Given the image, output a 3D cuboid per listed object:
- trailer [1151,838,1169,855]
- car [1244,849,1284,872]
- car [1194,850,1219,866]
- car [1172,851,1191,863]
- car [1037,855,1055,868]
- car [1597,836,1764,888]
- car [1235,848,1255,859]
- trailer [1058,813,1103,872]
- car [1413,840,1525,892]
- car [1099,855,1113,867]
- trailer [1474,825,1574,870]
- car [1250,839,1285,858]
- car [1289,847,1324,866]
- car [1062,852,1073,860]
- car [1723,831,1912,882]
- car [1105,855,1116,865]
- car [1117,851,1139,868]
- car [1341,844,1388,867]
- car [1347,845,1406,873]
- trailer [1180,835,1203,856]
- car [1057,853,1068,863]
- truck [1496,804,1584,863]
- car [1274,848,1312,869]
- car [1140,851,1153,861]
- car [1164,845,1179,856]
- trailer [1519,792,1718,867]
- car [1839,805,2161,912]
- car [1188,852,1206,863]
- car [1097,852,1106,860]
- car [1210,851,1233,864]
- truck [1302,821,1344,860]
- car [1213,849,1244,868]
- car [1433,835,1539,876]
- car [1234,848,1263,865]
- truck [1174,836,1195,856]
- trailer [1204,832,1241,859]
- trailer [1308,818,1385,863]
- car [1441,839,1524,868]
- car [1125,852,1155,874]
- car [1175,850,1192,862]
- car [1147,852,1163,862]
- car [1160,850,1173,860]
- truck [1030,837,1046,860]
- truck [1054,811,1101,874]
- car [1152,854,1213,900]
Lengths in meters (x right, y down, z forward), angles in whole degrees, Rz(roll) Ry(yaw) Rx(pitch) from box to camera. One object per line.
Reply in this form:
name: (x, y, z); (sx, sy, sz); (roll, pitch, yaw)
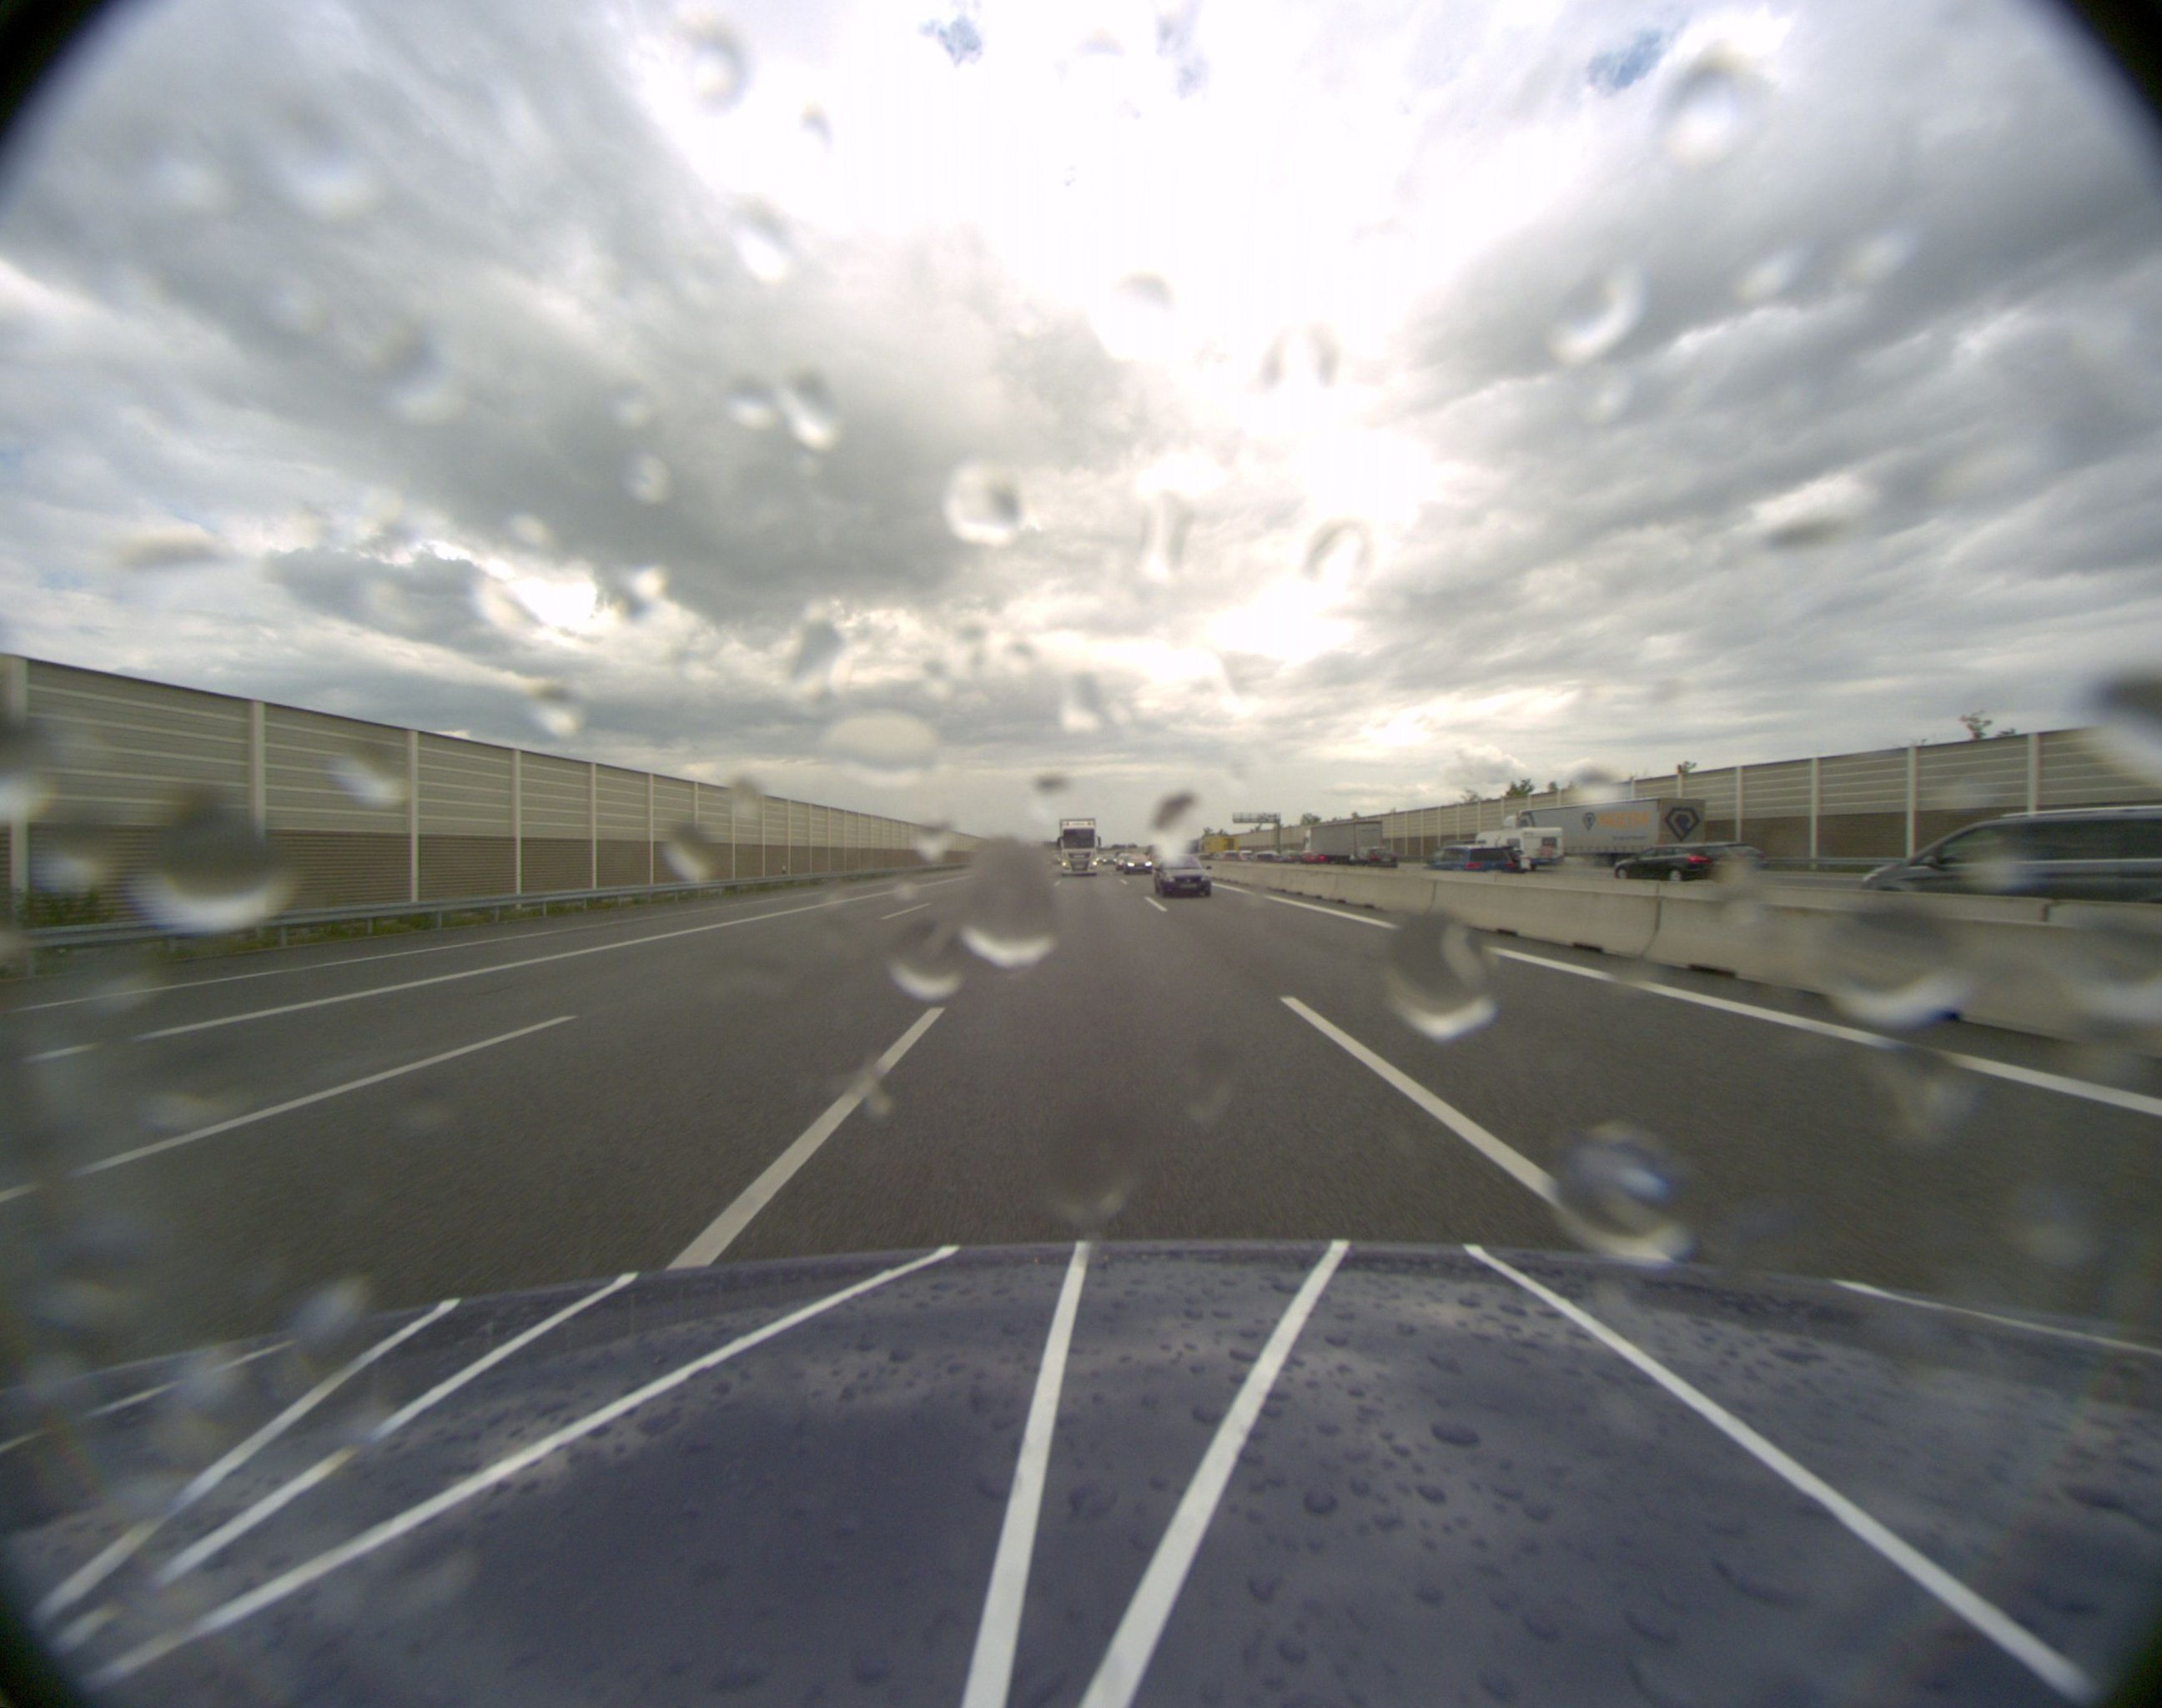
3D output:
trailer: (20.590, -1.844, 199.511); (3.066, 4.136, 14.314); (-1, 0, -1)
car: (14.196, 0.457, 59.230); (1.960, 1.689, 4.410); (-1, 0, -1)
car: (14.697, 0.497, 89.106); (2.066, 1.805, 4.777); (-1, 0, -1)
car: (14.564, 0.397, 110.695); (2.066, 1.689, 4.410); (-1, 0, -1)
car: (-3.840, 0.806, 83.841); (1.698, 1.395, 3.999); (-1, 0, 0)
car: (21.755, 0.256, 27.918); (2.066, 1.689, 5.088); (-1, 0, 0)
car: (25.949, -0.097, 120.620); (2.066, 1.689, 4.410); (-1, 0, -1)
trailer: (0.134, -0.862, 61.284); (2.925, 4.188, 13.197); (-2, 0, 2)
car: (13.949, 0.394, 27.597); (1.878, 1.689, 4.221); (-1, 0, 0)
car: (2.884, 0.811, 89.281); (1.498, 1.395, 4.000); (-1, 0, 0)
trailer: (26.298, -0.376, 45.486); (2.465, 2.481, 6.085); (-1, 0, 1)
car: (18.409, -0.537, 75.345); (2.066, 1.805, 5.113); (-1, 0, -1)
car: (21.722, 0.227, 73.403); (1.960, 1.689, 4.410); (-1, 0, -1)
car: (-2.499, 0.395, 138.884); (1.698, 1.395, 4.000); (-1, 0, 2)
car: (27.131, 0.080, 28.318); (2.066, 1.689, 5.088); (-1, 0, 0)
car: (4.185, 0.831, 107.768); (1.498, 1.395, 4.000); (-1, 0, 0)
car: (4.159, 0.472, 67.454); (1.732, 1.395, 4.000); (-1, 0, 0)
car: (22.382, 0.091, 60.229); (1.960, 1.689, 4.410); (-1, 0, -1)
car: (18.699, 0.314, 48.304); (1.960, 1.689, 4.410); (-1, 0, -1)
trailer: (21.692, -1.579, 149.520); (2.938, 3.916, 10.119); (-1, 0, 0)
car: (-2.780, 0.546, 114.375); (1.498, 1.395, 4.000); (-1, 0, 0)
truck: (33.431, -1.439, 55.599); (2.924, 4.011, 5.725); (-1, 1, 0)
car: (18.422, 0.403, 66.118); (1.960, 1.689, 4.410); (-1, 0, -1)
car: (13.991, 0.473, 162.926); (2.066, 1.991, 5.806); (-1, 0, -1)
car: (17.852, -0.665, 149.505); (2.066, 1.991, 5.806); (-1, 0, -1)
trailer: (33.377, -1.385, 48.474); (2.943, 4.008, 13.859); (-1, 0, 1)
car: (13.976, 0.030, 10.260); (1.878, 1.291, 5.600); (-1, 0, 0)
car: (18.198, 0.521, 119.526); (2.066, 1.689, 4.410); (-1, 0, -1)
car: (3.675, 0.306, 133.964); (1.498, 1.395, 4.000); (-1, 0, 0)
car: (18.784, 0.438, 101.732); (2.066, 1.689, 4.410); (-1, 0, -1)
truck: (26.545, -1.470, 83.655); (2.752, 4.011, 5.725); (-1, 1, 0)
car: (14.187, 0.446, 73.265); (1.960, 1.689, 4.892); (-1, 0, -1)
car: (18.275, 0.066, 34.611); (2.066, 1.689, 5.088); (-1, 0, 0)
car: (19.012, 0.285, 86.571); (2.066, 1.805, 4.777); (-1, 0, -1)
truck: (21.789, -1.602, 160.102); (2.945, 3.922, 11.066); (-1, 0, 0)
trailer: (21.962, -1.284, 118.918); (2.768, 4.008, 14.450); (-1, 0, -1)
trailer: (26.482, -1.271, 76.828); (2.768, 4.008, 14.452); (-1, 0, 1)
car: (22.315, -0.069, 42.471); (2.065, 1.482, 4.997); (-1, 1, 1)
car: (4.174, 0.582, 54.408); (1.776, 1.451, 4.480); (-1, 0, 0)
car: (18.068, 0.334, 134.135); (2.066, 1.881, 5.806); (-1, 0, -1)
car: (13.375, 0.615, 137.846); (2.066, 1.745, 5.806); (-1, 0, -1)
car: (17.885, 0.285, 159.338); (2.066, 1.991, 5.806); (-1, 0, -1)
truck: (-7.922, -0.948, 141.606); (2.599, 4.088, 11.369); (-1, 0, -2)
truck: (-0.171, -0.804, 54.157); (2.912, 4.146, 5.193); (-2, 0, 3)
car: (3.424, 0.737, 26.217); (1.578, 1.395, 4.000); (-1, 0, 0)
